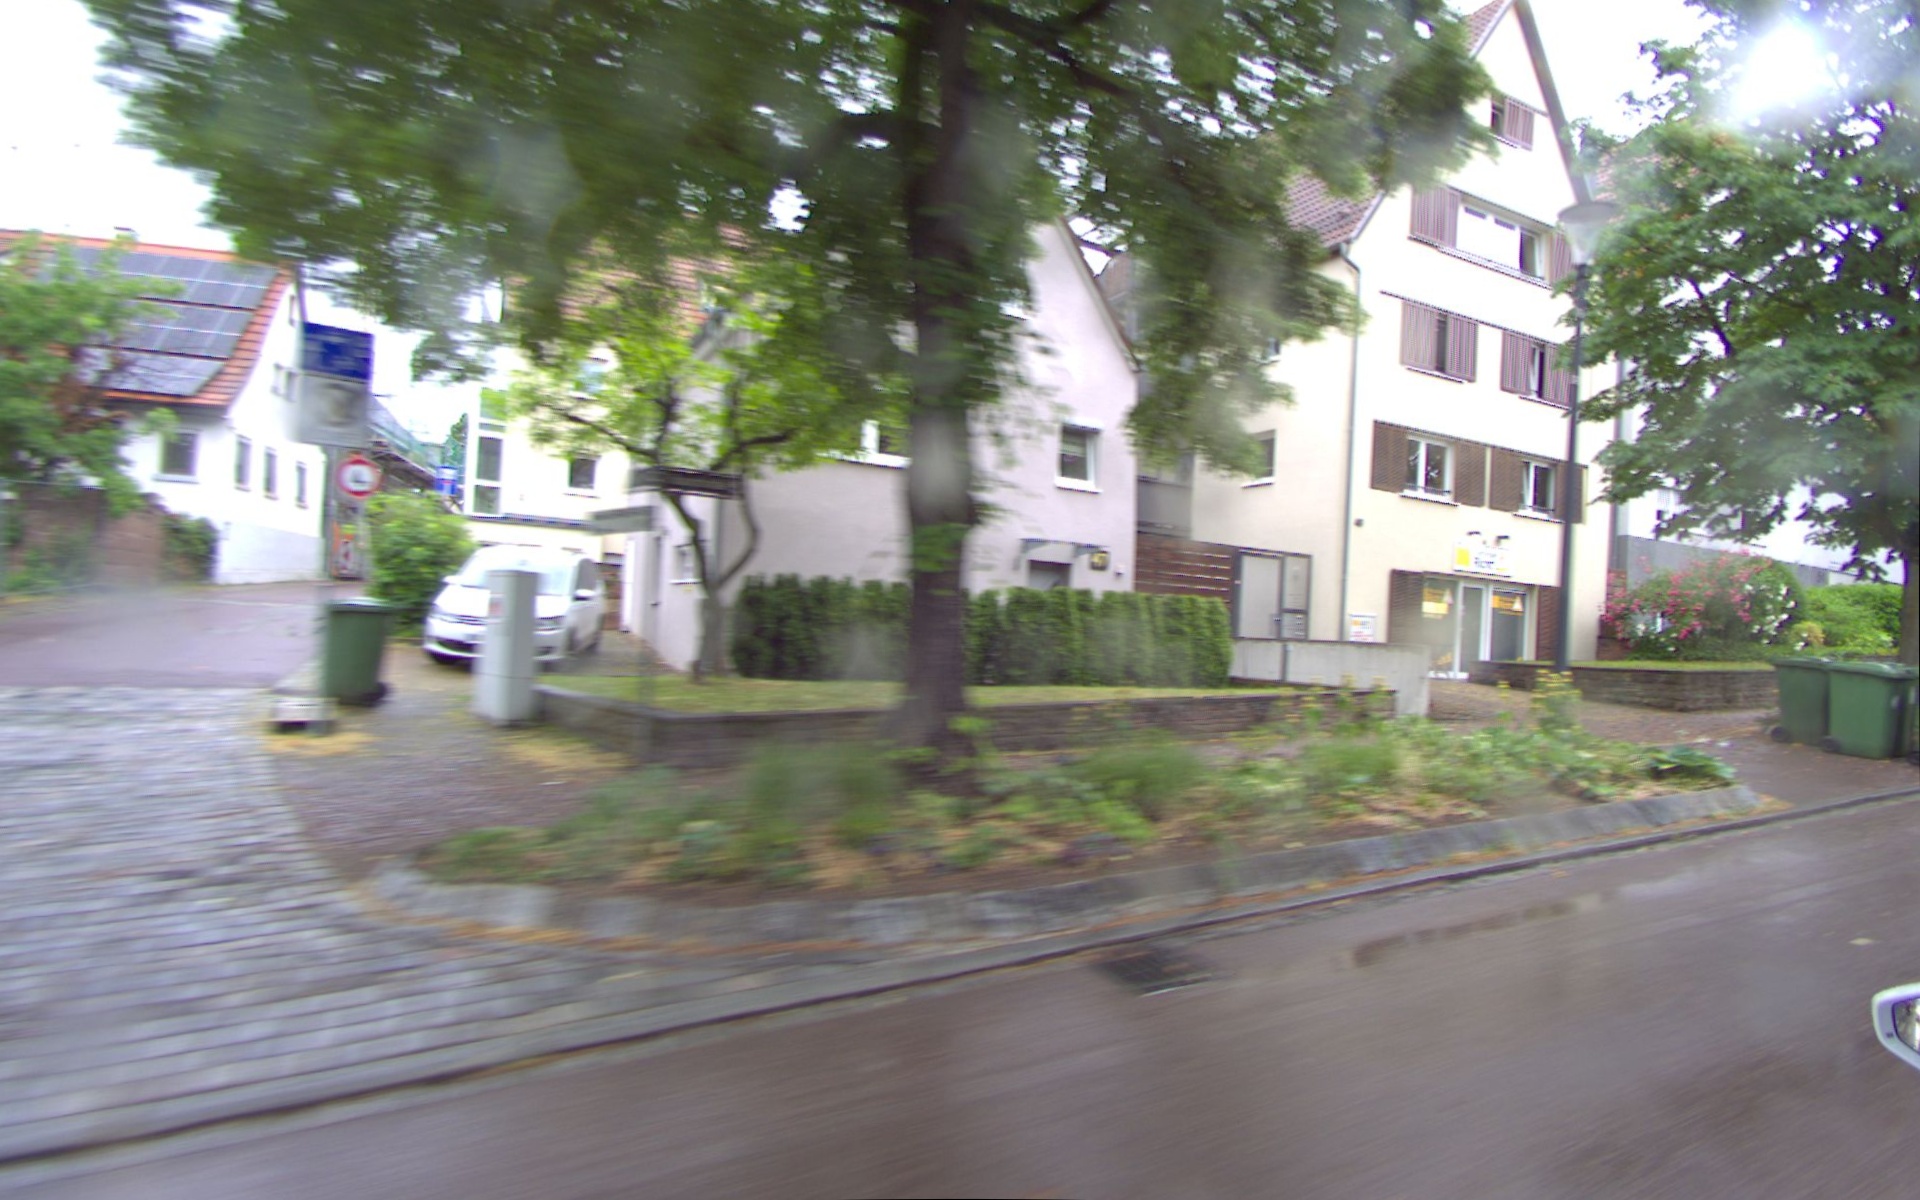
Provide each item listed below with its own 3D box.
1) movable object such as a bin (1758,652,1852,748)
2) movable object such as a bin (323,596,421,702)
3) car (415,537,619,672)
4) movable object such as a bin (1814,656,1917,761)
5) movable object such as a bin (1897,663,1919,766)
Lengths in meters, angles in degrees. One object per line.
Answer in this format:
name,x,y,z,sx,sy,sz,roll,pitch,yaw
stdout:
movable object such as a bin,10.584,1.236,12.589,0.808,1.119,0.666,3,-1,-31
movable object such as a bin,-6.050,0.501,10.368,0.727,1.048,0.572,2,-1,-18
car,-6.573,0.055,15.448,1.965,1.710,4.434,2,0,-12
movable object such as a bin,10.451,1.232,11.595,0.808,1.119,0.666,3,-1,-31
movable object such as a bin,10.869,1.272,11.008,0.808,1.109,0.666,3,-1,-31
